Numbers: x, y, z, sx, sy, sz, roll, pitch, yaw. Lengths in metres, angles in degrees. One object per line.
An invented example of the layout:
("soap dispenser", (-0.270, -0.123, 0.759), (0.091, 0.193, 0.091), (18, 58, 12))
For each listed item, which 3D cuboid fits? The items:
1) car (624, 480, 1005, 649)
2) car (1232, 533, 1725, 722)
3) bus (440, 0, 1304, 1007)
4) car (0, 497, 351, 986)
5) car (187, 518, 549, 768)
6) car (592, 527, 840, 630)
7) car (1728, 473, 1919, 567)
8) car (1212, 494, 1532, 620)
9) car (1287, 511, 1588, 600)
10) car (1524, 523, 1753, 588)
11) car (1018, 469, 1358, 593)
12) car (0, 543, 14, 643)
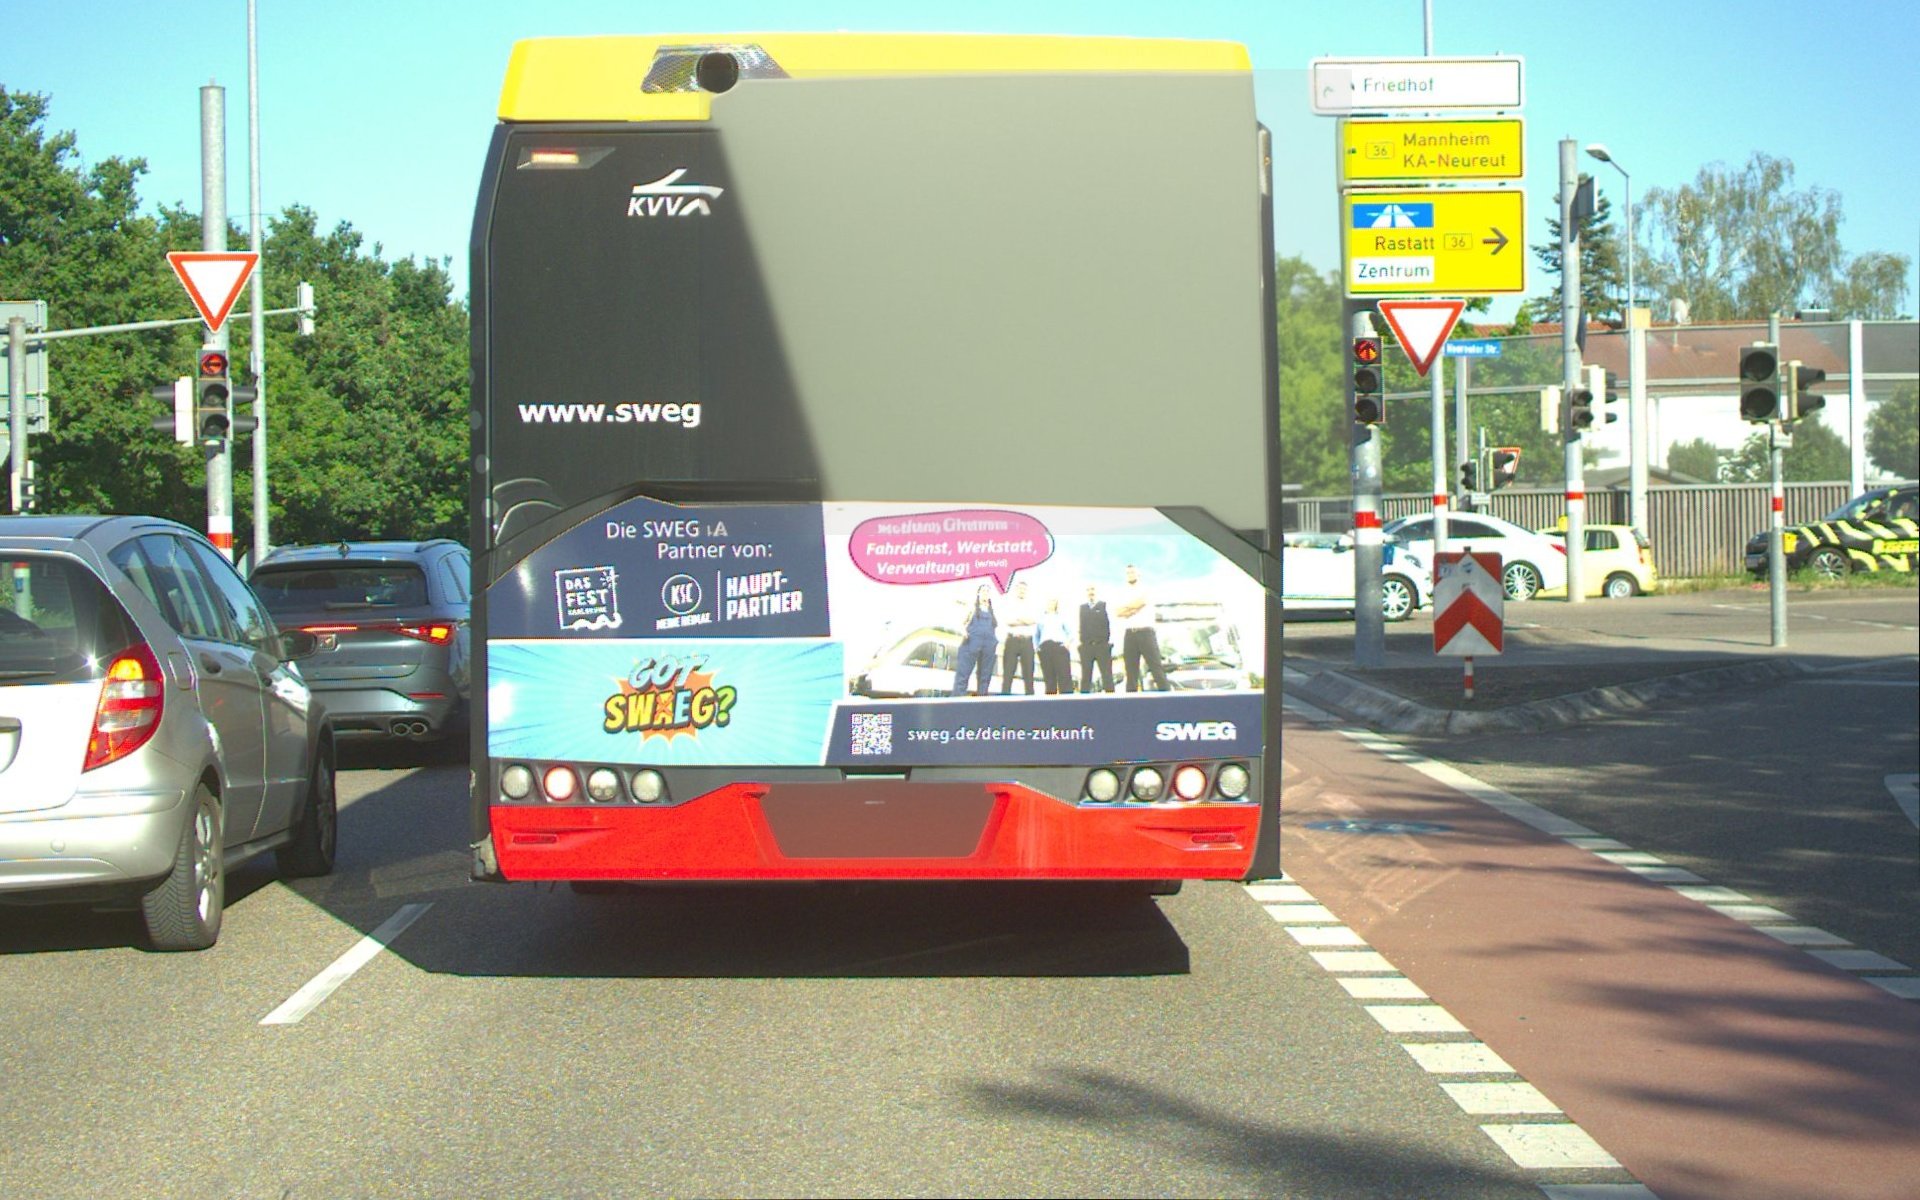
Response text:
("car", (-1.651, -0.399, 38.444), (4.110, 1.795, 1.458), (-1, 0, -8))
("car", (3.853, 0.178, 25.720), (3.523, 1.297, 1.574), (1, 2, 8))
("bus", (-0.332, -0.572, 16.391), (2.596, 3.323, 11.984), (0, 1, -1))
("car", (-3.575, 0.433, 13.732), (1.753, 1.614, 4.034), (-1, 2, -3))
("car", (-3.780, 0.242, 22.509), (1.588, 1.480, 3.682), (-1, 1, 2))
("car", (-4.029, -0.366, 56.527), (3.986, 1.606, 1.696), (-1, 1, -6))
("car", (13.271, -1.134, 49.220), (4.159, 1.298, 1.575), (0, 0, -3))
("car", (5.115, -0.534, 42.884), (3.669, 1.480, 1.594), (-1, 0, -6))
("car", (7.213, -0.686, 52.102), (4.288, 1.297, 1.575), (-1, 1, -3))
("car", (12.189, -0.808, 61.844), (3.756, 1.132, 1.575), (-1, 1, -3))
("car", (2.949, -0.884, 45.033), (4.220, 1.557, 1.764), (0, 0, -5))
("car", (-17.537, -0.093, 55.741), (3.986, 1.606, 1.696), (-1, 1, -6))
